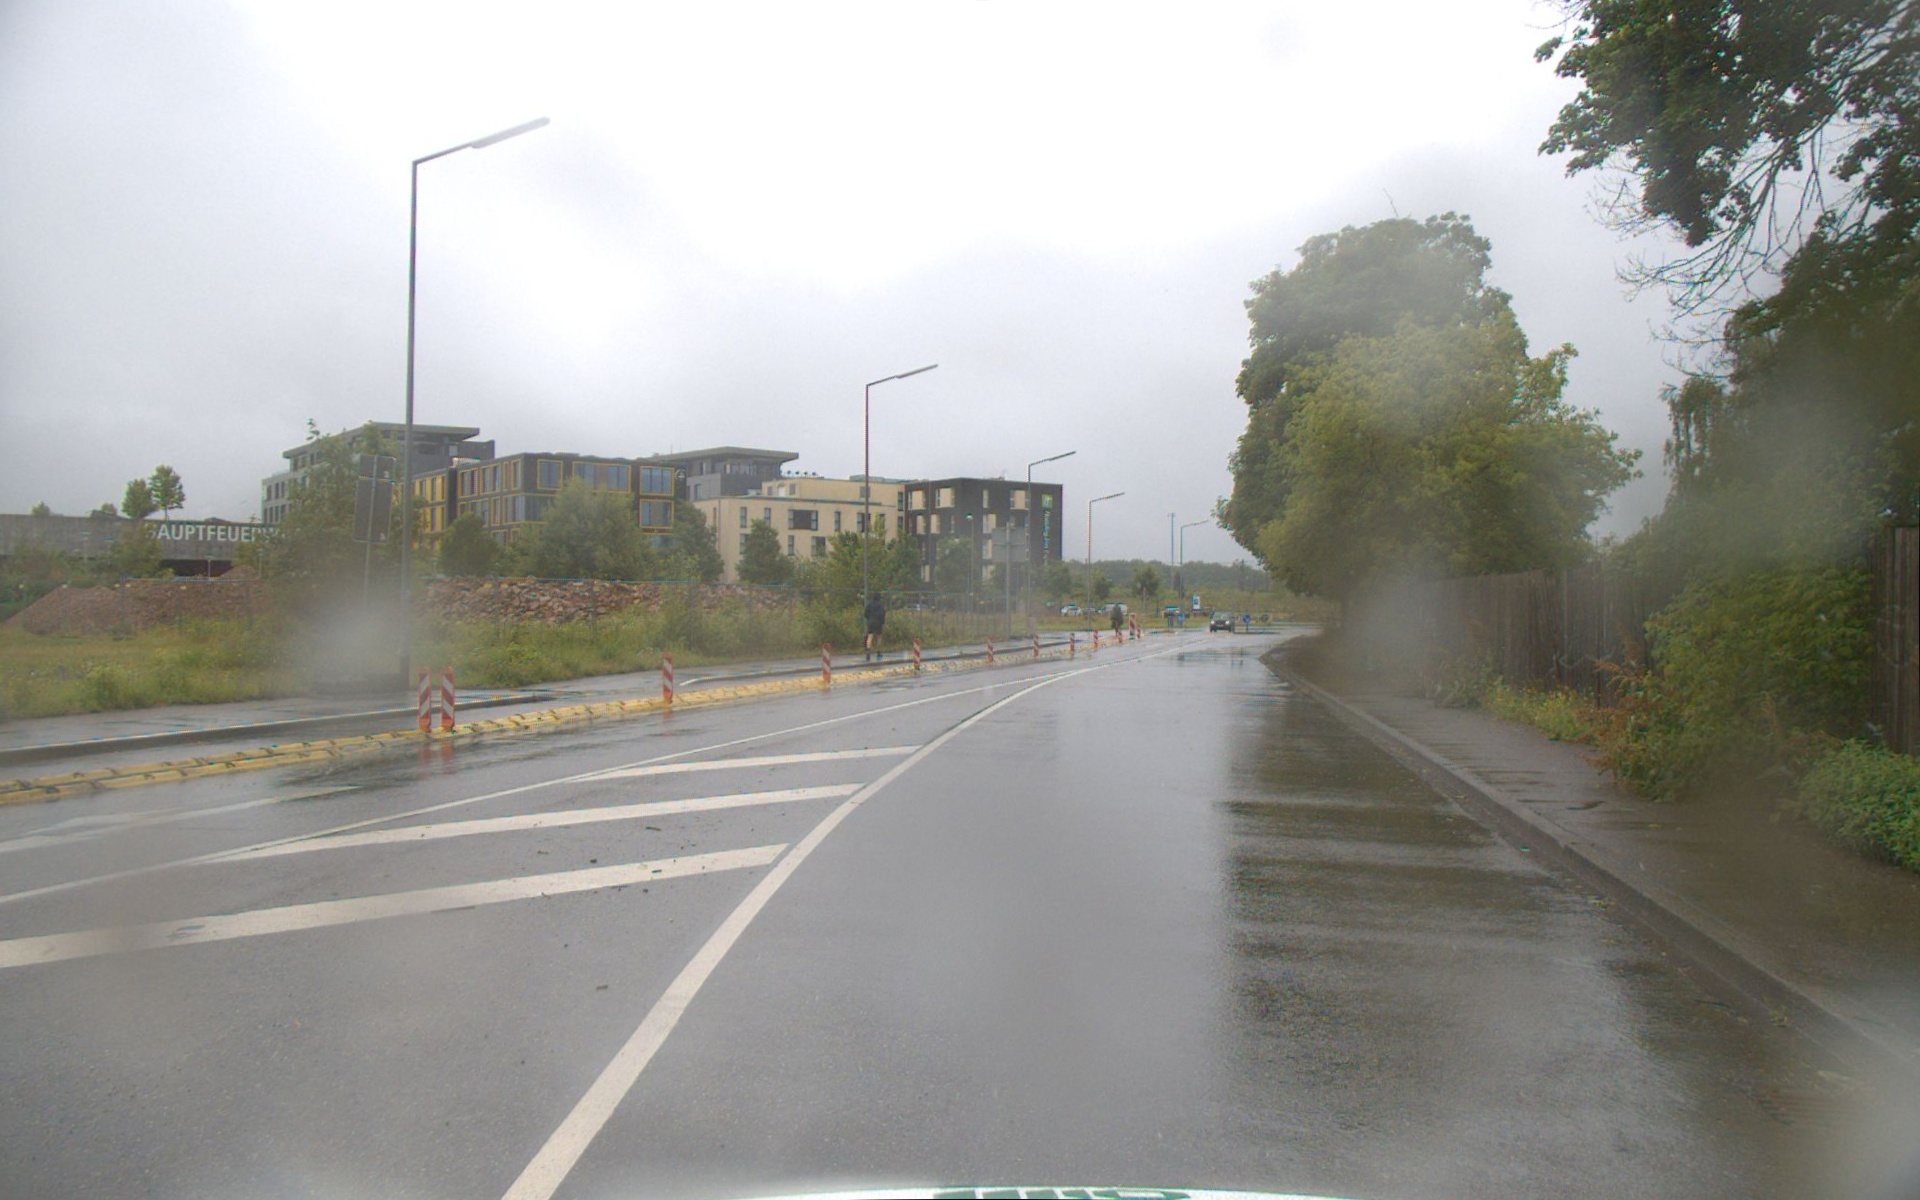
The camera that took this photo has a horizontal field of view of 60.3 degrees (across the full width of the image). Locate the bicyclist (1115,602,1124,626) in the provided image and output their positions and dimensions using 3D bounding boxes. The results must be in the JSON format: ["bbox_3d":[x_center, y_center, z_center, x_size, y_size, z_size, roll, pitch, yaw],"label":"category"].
[{"bbox_3d":[9.551,0.849,99.009,0.434,1.428,0.550,1,-3,9],"label":"bicyclist"}]

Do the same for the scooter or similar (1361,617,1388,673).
[{"bbox_3d":[9.479,1.024,37.839,0.480,1.256,1.371,0,-1,10],"label":"scooter or similar"}]

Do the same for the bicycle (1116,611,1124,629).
[{"bbox_3d":[9.552,1.191,98.905,0.418,1.037,1.613,1,0,7],"label":"bicycle"}]

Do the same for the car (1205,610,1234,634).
[{"bbox_3d":[19.696,1.648,125.610,1.951,1.803,4.003,0,-1,12],"label":"car"}]

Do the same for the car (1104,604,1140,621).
[{"bbox_3d":[19.327,1.534,197.614,3.948,1.803,1.978,3,-3,-32],"label":"car"}]

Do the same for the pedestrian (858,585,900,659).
[{"bbox_3d":[-2.297,0.644,46.829,0.828,2.049,1.132,0,-3,16],"label":"pedestrian"}]

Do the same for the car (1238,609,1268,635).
[{"bbox_3d":[22.271,1.682,125.740,1.951,1.803,4.002,0,-3,15],"label":"car"}]
